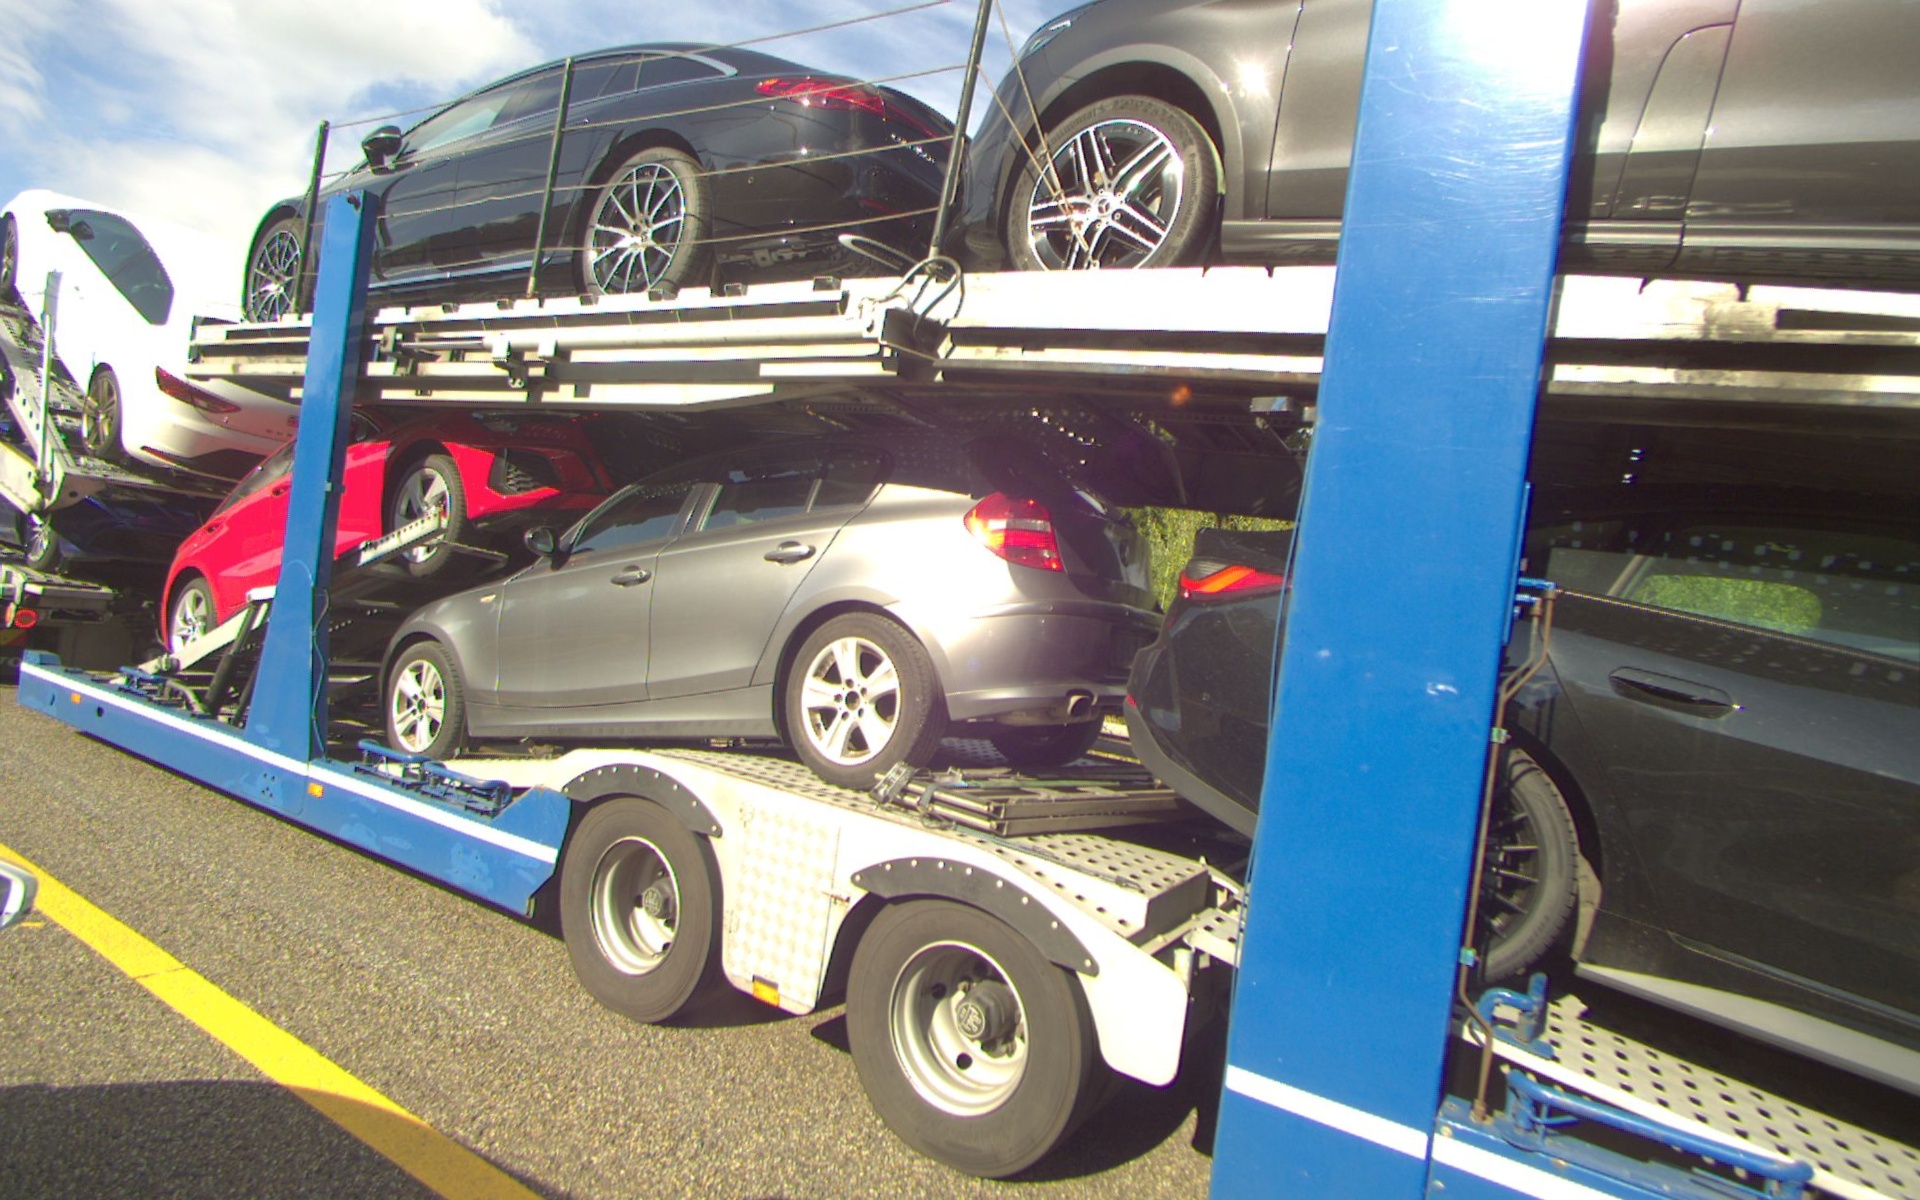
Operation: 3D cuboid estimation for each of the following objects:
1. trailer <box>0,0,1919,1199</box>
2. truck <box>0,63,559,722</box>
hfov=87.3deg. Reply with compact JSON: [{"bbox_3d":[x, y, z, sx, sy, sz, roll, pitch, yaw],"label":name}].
[{"bbox_3d":[-1.554,-0.753,5.891,15.957,4.245,3.734,6,-2,31],"label":"trailer"},{"bbox_3d":[-8.382,-1.497,10.051,7.818,4.245,3.769,6,-2,31],"label":"truck"}]
